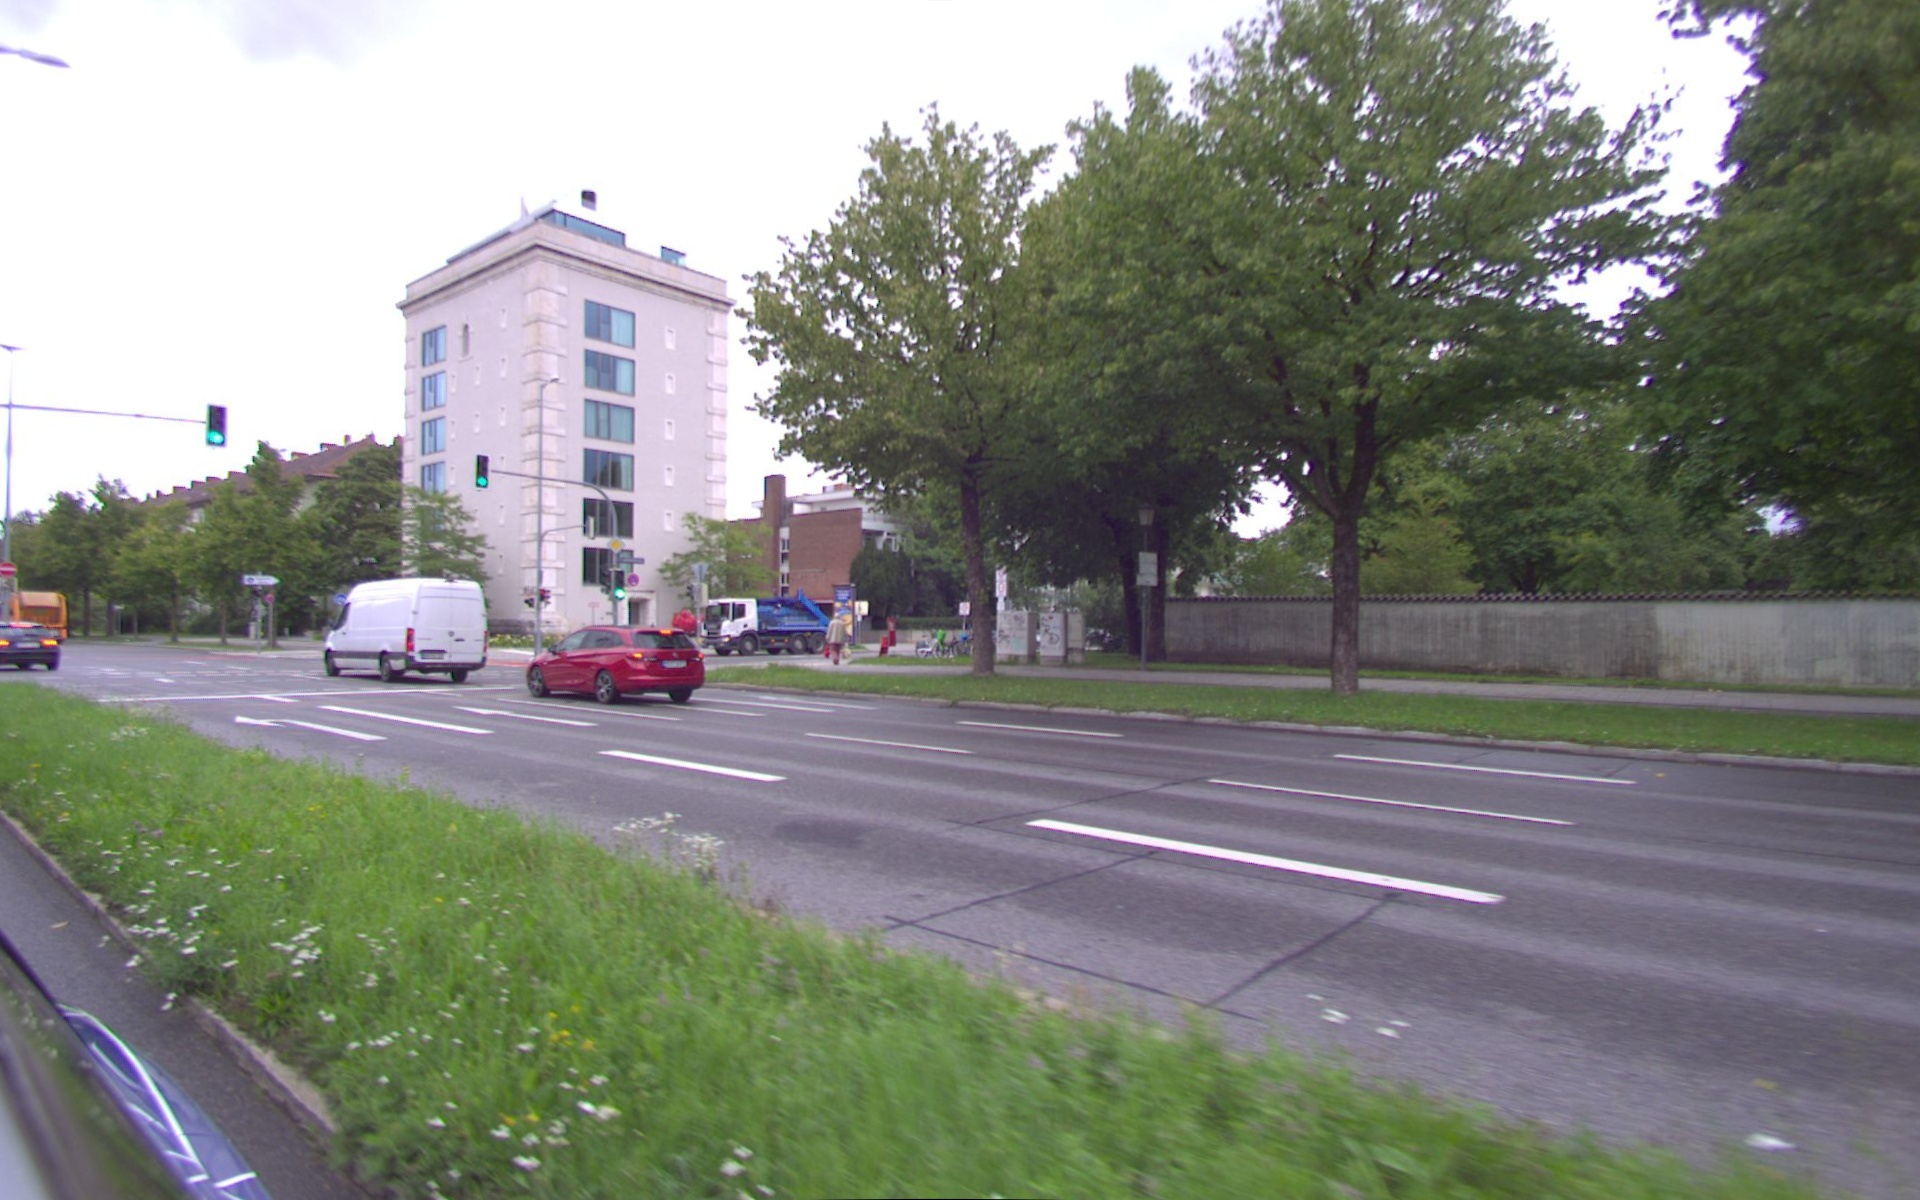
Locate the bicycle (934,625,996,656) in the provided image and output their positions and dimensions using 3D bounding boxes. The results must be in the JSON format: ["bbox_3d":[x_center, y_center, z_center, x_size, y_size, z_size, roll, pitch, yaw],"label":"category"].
[{"bbox_3d":[0.193,1.590,39.931,2.494,1.195,0.827,-1,-2,40],"label":"bicycle"}]

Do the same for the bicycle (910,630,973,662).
[{"bbox_3d":[-0.723,1.739,38.847,2.494,1.195,0.827,-1,-2,40],"label":"bicycle"}]

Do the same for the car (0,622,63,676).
[{"bbox_3d":[-27.969,1.407,29.572,3.768,1.498,1.627,-1,-2,32],"label":"car"}]

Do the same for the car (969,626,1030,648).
[{"bbox_3d":[2.749,2.492,69.252,1.927,1.427,4.154,-1,-2,44],"label":"car"}]

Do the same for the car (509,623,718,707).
[{"bbox_3d":[-6.866,1.228,19.796,4.654,1.463,1.725,-2,-4,41],"label":"car"}]

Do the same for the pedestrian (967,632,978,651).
[{"bbox_3d":[0.941,3.145,76.791,0.545,1.425,0.595,0,-1,37],"label":"pedestrian"}]

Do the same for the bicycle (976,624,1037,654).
[{"bbox_3d":[1.886,1.584,41.264,2.494,1.195,0.827,-1,-2,40],"label":"bicycle"}]

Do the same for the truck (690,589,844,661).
[{"bbox_3d":[-10.005,1.298,53.150,7.705,3.515,2.775,1,-2,-43],"label":"truck"}]

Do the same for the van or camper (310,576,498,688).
[{"bbox_3d":[-15.108,0.879,27.266,6.948,2.667,2.155,-1,-4,41],"label":"van or camper"}]

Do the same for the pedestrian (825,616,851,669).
[{"bbox_3d":[-4.070,1.399,33.796,0.516,1.753,0.701,-1,-2,36],"label":"pedestrian"}]

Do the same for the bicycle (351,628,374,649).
[{"bbox_3d":[-34.892,2.248,59.101,1.825,1.190,0.539,-1,-2,40],"label":"bicycle"}]

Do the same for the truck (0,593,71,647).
[{"bbox_3d":[-61.266,1.350,66.851,7.261,3.382,2.752,-1,-2,41],"label":"truck"}]

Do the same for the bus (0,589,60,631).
[{"bbox_3d":[-80.072,0.938,86.544,12.037,3.369,2.718,-1,-3,39],"label":"bus"}]
